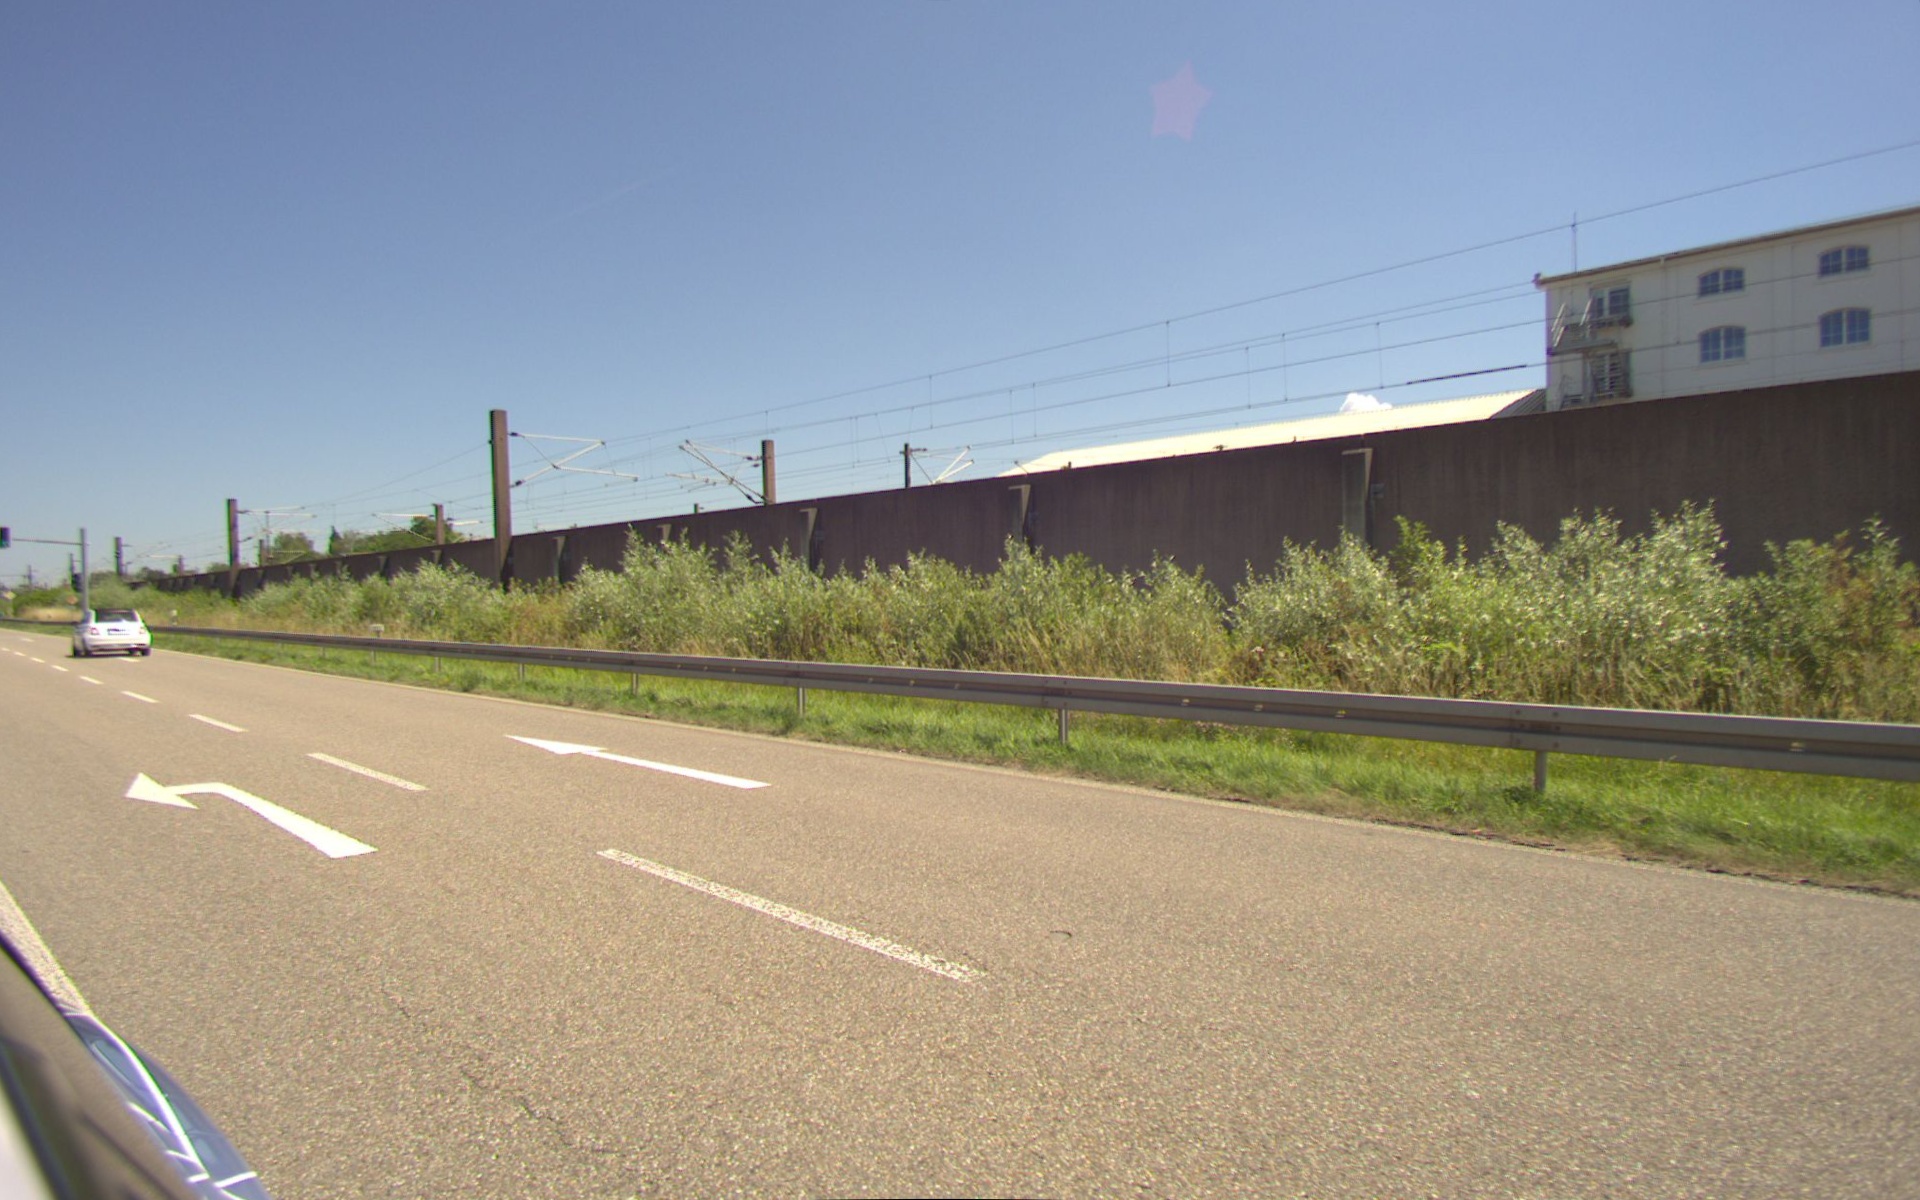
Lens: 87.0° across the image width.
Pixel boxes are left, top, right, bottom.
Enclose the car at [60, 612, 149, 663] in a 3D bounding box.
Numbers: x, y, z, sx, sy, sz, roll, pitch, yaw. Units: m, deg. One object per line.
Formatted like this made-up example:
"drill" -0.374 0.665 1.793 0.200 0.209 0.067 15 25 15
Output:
"car" -26.900 1.142 31.791 3.772 1.485 1.579 -1 0 41
